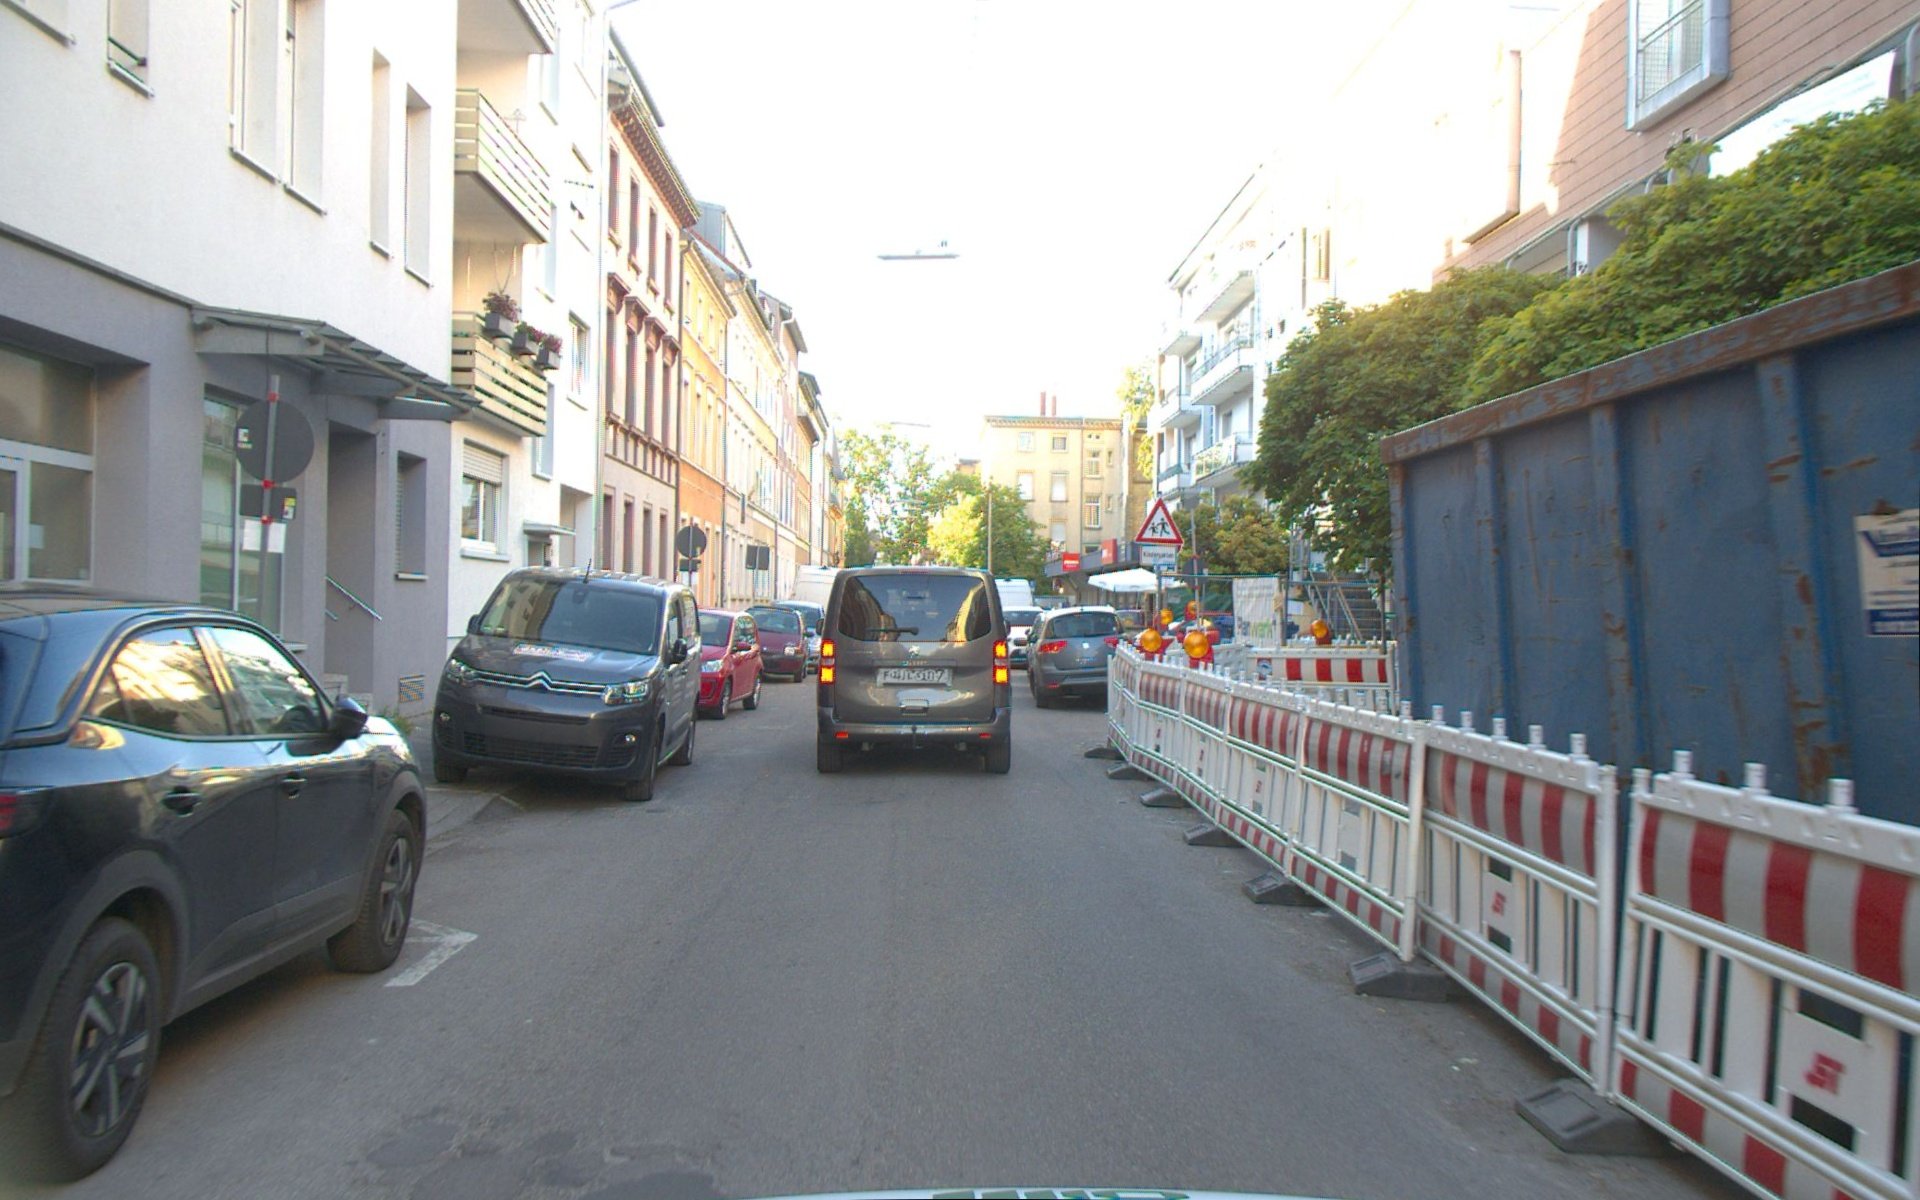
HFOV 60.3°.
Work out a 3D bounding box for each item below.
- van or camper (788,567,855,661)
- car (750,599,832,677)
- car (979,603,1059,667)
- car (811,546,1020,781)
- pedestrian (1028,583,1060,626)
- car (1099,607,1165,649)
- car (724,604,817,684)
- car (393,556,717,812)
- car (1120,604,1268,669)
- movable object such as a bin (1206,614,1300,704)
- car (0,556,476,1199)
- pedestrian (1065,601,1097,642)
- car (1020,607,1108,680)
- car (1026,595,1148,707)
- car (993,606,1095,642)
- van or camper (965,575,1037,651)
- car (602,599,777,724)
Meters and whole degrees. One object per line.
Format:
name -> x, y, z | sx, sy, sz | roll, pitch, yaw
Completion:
van or camper -> -4.225, 0.414, 51.239 | 1.910, 2.696, 7.135 | 0, 0, -4
car -> -4.021, 0.871, 39.777 | 1.677, 1.673, 3.977 | 4, 0, -3
car -> 1.574, 0.941, 45.606 | 1.688, 1.640, 4.584 | 1, 0, -4
car -> -0.481, 0.555, 16.655 | 1.820, 2.049, 3.998 | -1, 0, -3
pedestrian -> 3.184, 0.169, 62.672 | 0.859, 1.583, 0.869 | -1, 0, -24
car -> 6.167, 0.994, 58.922 | 1.567, 1.441, 3.229 | 0, 0, 21
car -> -3.911, 0.878, 34.490 | 1.624, 1.473, 3.284 | 4, 0, -3
car -> -3.396, 0.643, 14.807 | 1.954, 1.891, 4.582 | 1, 0, -3
car -> 6.566, 1.020, 46.632 | 3.818, 1.635, 1.693 | 2, 0, -3
movable object such as a bin -> 4.762, 0.952, 26.862 | 1.236, 1.400, 0.795 | 3, -1, -27
car -> -3.086, 0.695, 5.800 | 1.705, 1.627, 4.012 | 1, 0, -3
pedestrian -> 5.179, 0.921, 70.724 | 0.925, 1.751, 1.050 | 0, -1, -36
car -> 2.307, 0.938, 37.461 | 1.587, 1.512, 4.123 | -1, 0, -2
car -> 2.093, 0.812, 28.377 | 1.713, 1.713, 4.525 | 2, 0, 0
car -> 3.826, 1.108, 75.905 | 4.532, 1.491, 1.840 | -2, 0, -3
van or camper -> 1.446, 0.470, 61.640 | 2.058, 2.648, 7.507 | 0, 0, -3
car -> -3.851, 0.837, 24.112 | 1.635, 1.511, 3.607 | 6, 0, 3
